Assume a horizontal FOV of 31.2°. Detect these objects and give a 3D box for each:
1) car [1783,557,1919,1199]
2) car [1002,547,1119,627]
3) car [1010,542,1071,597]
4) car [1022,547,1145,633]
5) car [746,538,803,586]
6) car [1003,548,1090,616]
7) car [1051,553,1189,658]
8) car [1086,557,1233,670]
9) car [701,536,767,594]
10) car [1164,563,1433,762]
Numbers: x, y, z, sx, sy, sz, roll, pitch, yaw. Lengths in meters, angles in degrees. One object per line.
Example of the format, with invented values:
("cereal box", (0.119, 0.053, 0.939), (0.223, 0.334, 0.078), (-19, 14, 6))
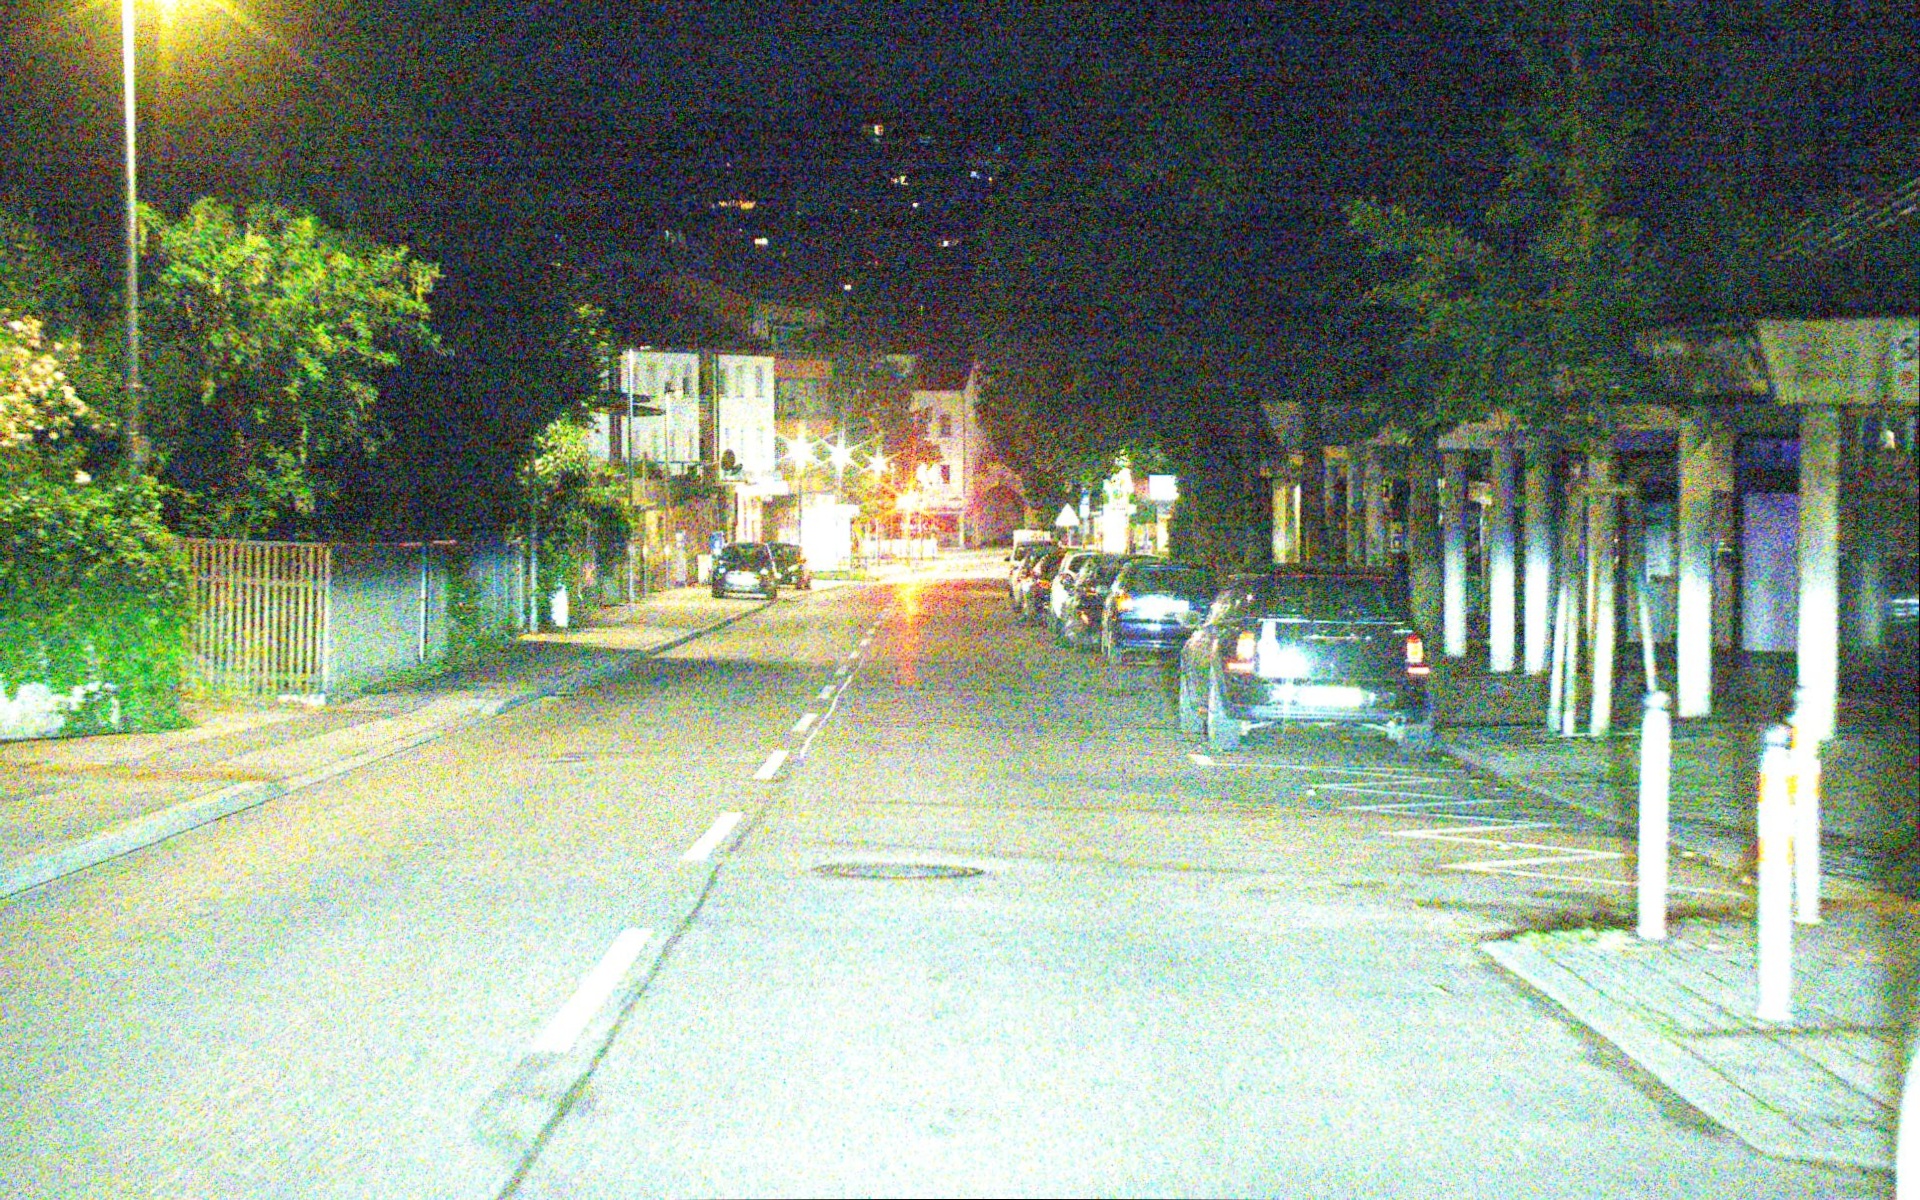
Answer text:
("car", (2.577, 0.731, 4.313), (1.763, 1.470, 4.277), (2, 1, -4))
("car", (1.927, -0.279, 66.889), (1.682, 1.443, 4.001), (1, 1, -7))
("car", (2.293, -0.900, 98.471), (1.682, 1.534, 4.000), (0, 1, 0))
("car", (2.205, -0.203, 62.234), (1.682, 1.443, 4.001), (1, 1, -5))
("car", (-5.963, -1.232, 110.793), (1.753, 1.534, 3.731), (0, 1, -2))
("car", (1.939, -0.435, 78.065), (1.682, 1.443, 4.001), (1, 1, -2))
("car", (2.367, 0.057, 51.640), (1.682, 1.443, 4.001), (1, 1, -3))
("car", (2.726, 0.147, 46.792), (1.868, 1.398, 4.000), (2, 1, 4))
("car", (-6.157, -0.969, 93.671), (1.753, 1.534, 3.731), (0, 1, -4))
("car", (2.624, 0.442, 27.410), (1.629, 1.434, 3.865), (1, 1, -2))
